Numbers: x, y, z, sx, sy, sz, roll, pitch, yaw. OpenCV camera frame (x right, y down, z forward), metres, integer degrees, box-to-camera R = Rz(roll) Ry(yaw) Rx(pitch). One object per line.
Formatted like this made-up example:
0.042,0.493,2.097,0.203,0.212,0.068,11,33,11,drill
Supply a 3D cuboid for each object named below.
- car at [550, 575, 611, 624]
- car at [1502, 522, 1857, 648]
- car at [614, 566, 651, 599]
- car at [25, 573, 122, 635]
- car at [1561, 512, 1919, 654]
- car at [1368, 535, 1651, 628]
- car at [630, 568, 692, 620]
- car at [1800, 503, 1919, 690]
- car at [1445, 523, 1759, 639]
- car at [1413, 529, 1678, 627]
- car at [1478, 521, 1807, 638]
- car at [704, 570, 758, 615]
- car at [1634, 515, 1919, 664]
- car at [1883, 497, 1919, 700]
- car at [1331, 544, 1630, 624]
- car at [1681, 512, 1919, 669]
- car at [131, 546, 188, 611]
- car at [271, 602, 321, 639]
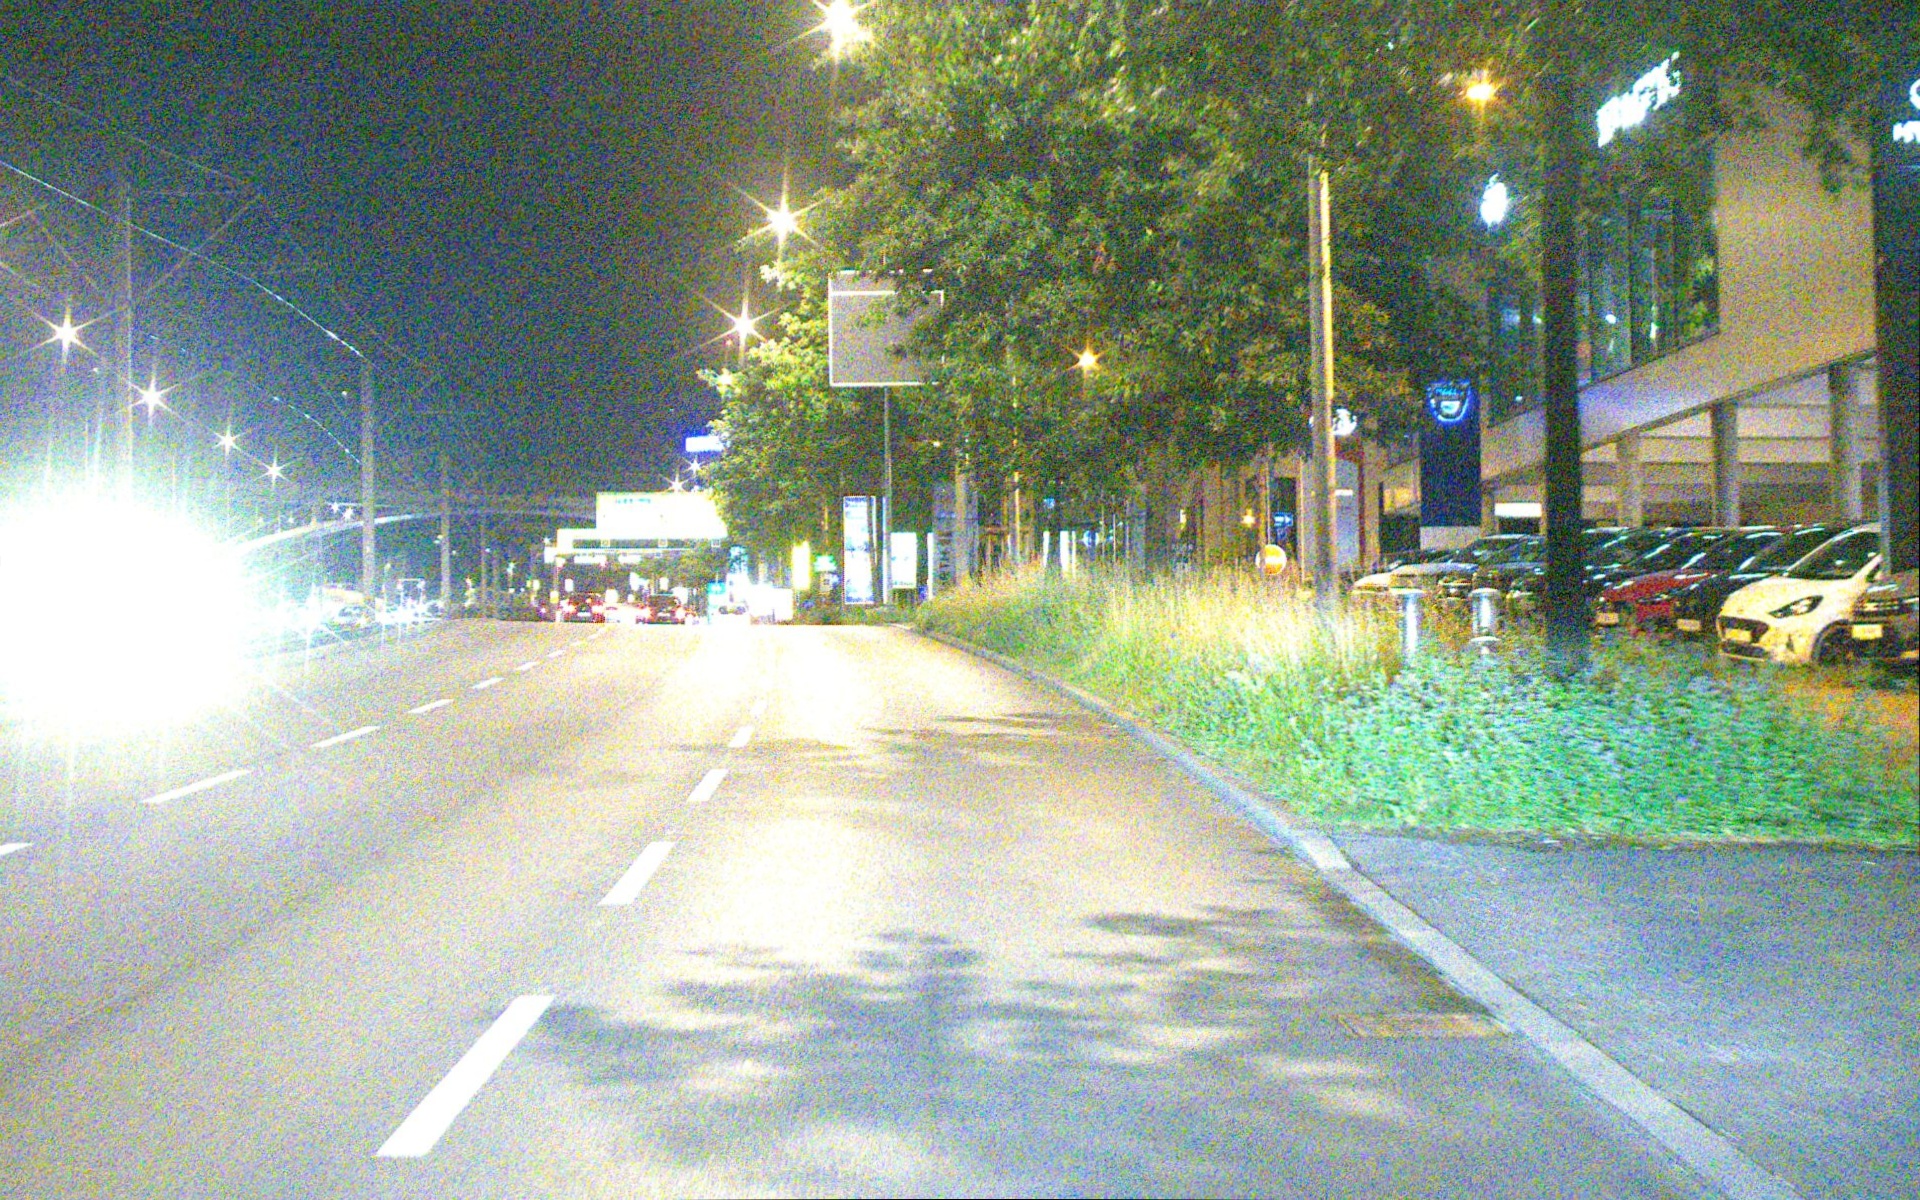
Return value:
-16.078,-0.023,145.909,2.262,2.007,4.826,0,0,-2,car
9.144,-0.204,43.799,3.986,1.376,1.809,-3,1,-12,car
-18.746,-1.011,196.728,1.887,1.853,4.000,0,0,-2,car
-24.968,0.107,96.957,1.779,1.708,4.227,0,0,-2,car
9.360,-0.220,40.520,4.022,1.369,1.826,-4,1,-18,car
8.664,-0.314,54.266,3.986,1.419,1.910,0,1,-19,car
-12.453,-0.255,143.314,2.356,2.122,4.826,0,0,-2,car
9.886,-0.196,30.160,4.459,1.542,1.770,-5,0,-11,car
9.132,-0.279,48.924,3.986,1.465,1.833,-3,1,-21,car
8.786,-0.325,51.596,3.601,1.428,1.680,0,0,-25,car
9.165,-0.299,46.176,3.986,1.387,1.827,-3,2,-24,car
-10.987,-0.356,165.297,2.427,2.106,4.826,0,0,-2,car
9.581,-0.153,37.923,3.766,1.374,1.717,-5,1,-15,car
9.530,-0.156,26.689,4.079,1.563,1.855,-5,2,-12,car
8.633,-0.290,56.988,4.628,1.260,1.948,-1,2,-27,car
9.589,-0.155,35.414,3.801,1.448,1.718,-3,1,-15,car
-34.962,-0.909,150.068,2.145,2.662,6.964,-3,0,-14,car
-30.899,0.956,160.151,1.993,1.589,4.001,-2,1,-7,car
